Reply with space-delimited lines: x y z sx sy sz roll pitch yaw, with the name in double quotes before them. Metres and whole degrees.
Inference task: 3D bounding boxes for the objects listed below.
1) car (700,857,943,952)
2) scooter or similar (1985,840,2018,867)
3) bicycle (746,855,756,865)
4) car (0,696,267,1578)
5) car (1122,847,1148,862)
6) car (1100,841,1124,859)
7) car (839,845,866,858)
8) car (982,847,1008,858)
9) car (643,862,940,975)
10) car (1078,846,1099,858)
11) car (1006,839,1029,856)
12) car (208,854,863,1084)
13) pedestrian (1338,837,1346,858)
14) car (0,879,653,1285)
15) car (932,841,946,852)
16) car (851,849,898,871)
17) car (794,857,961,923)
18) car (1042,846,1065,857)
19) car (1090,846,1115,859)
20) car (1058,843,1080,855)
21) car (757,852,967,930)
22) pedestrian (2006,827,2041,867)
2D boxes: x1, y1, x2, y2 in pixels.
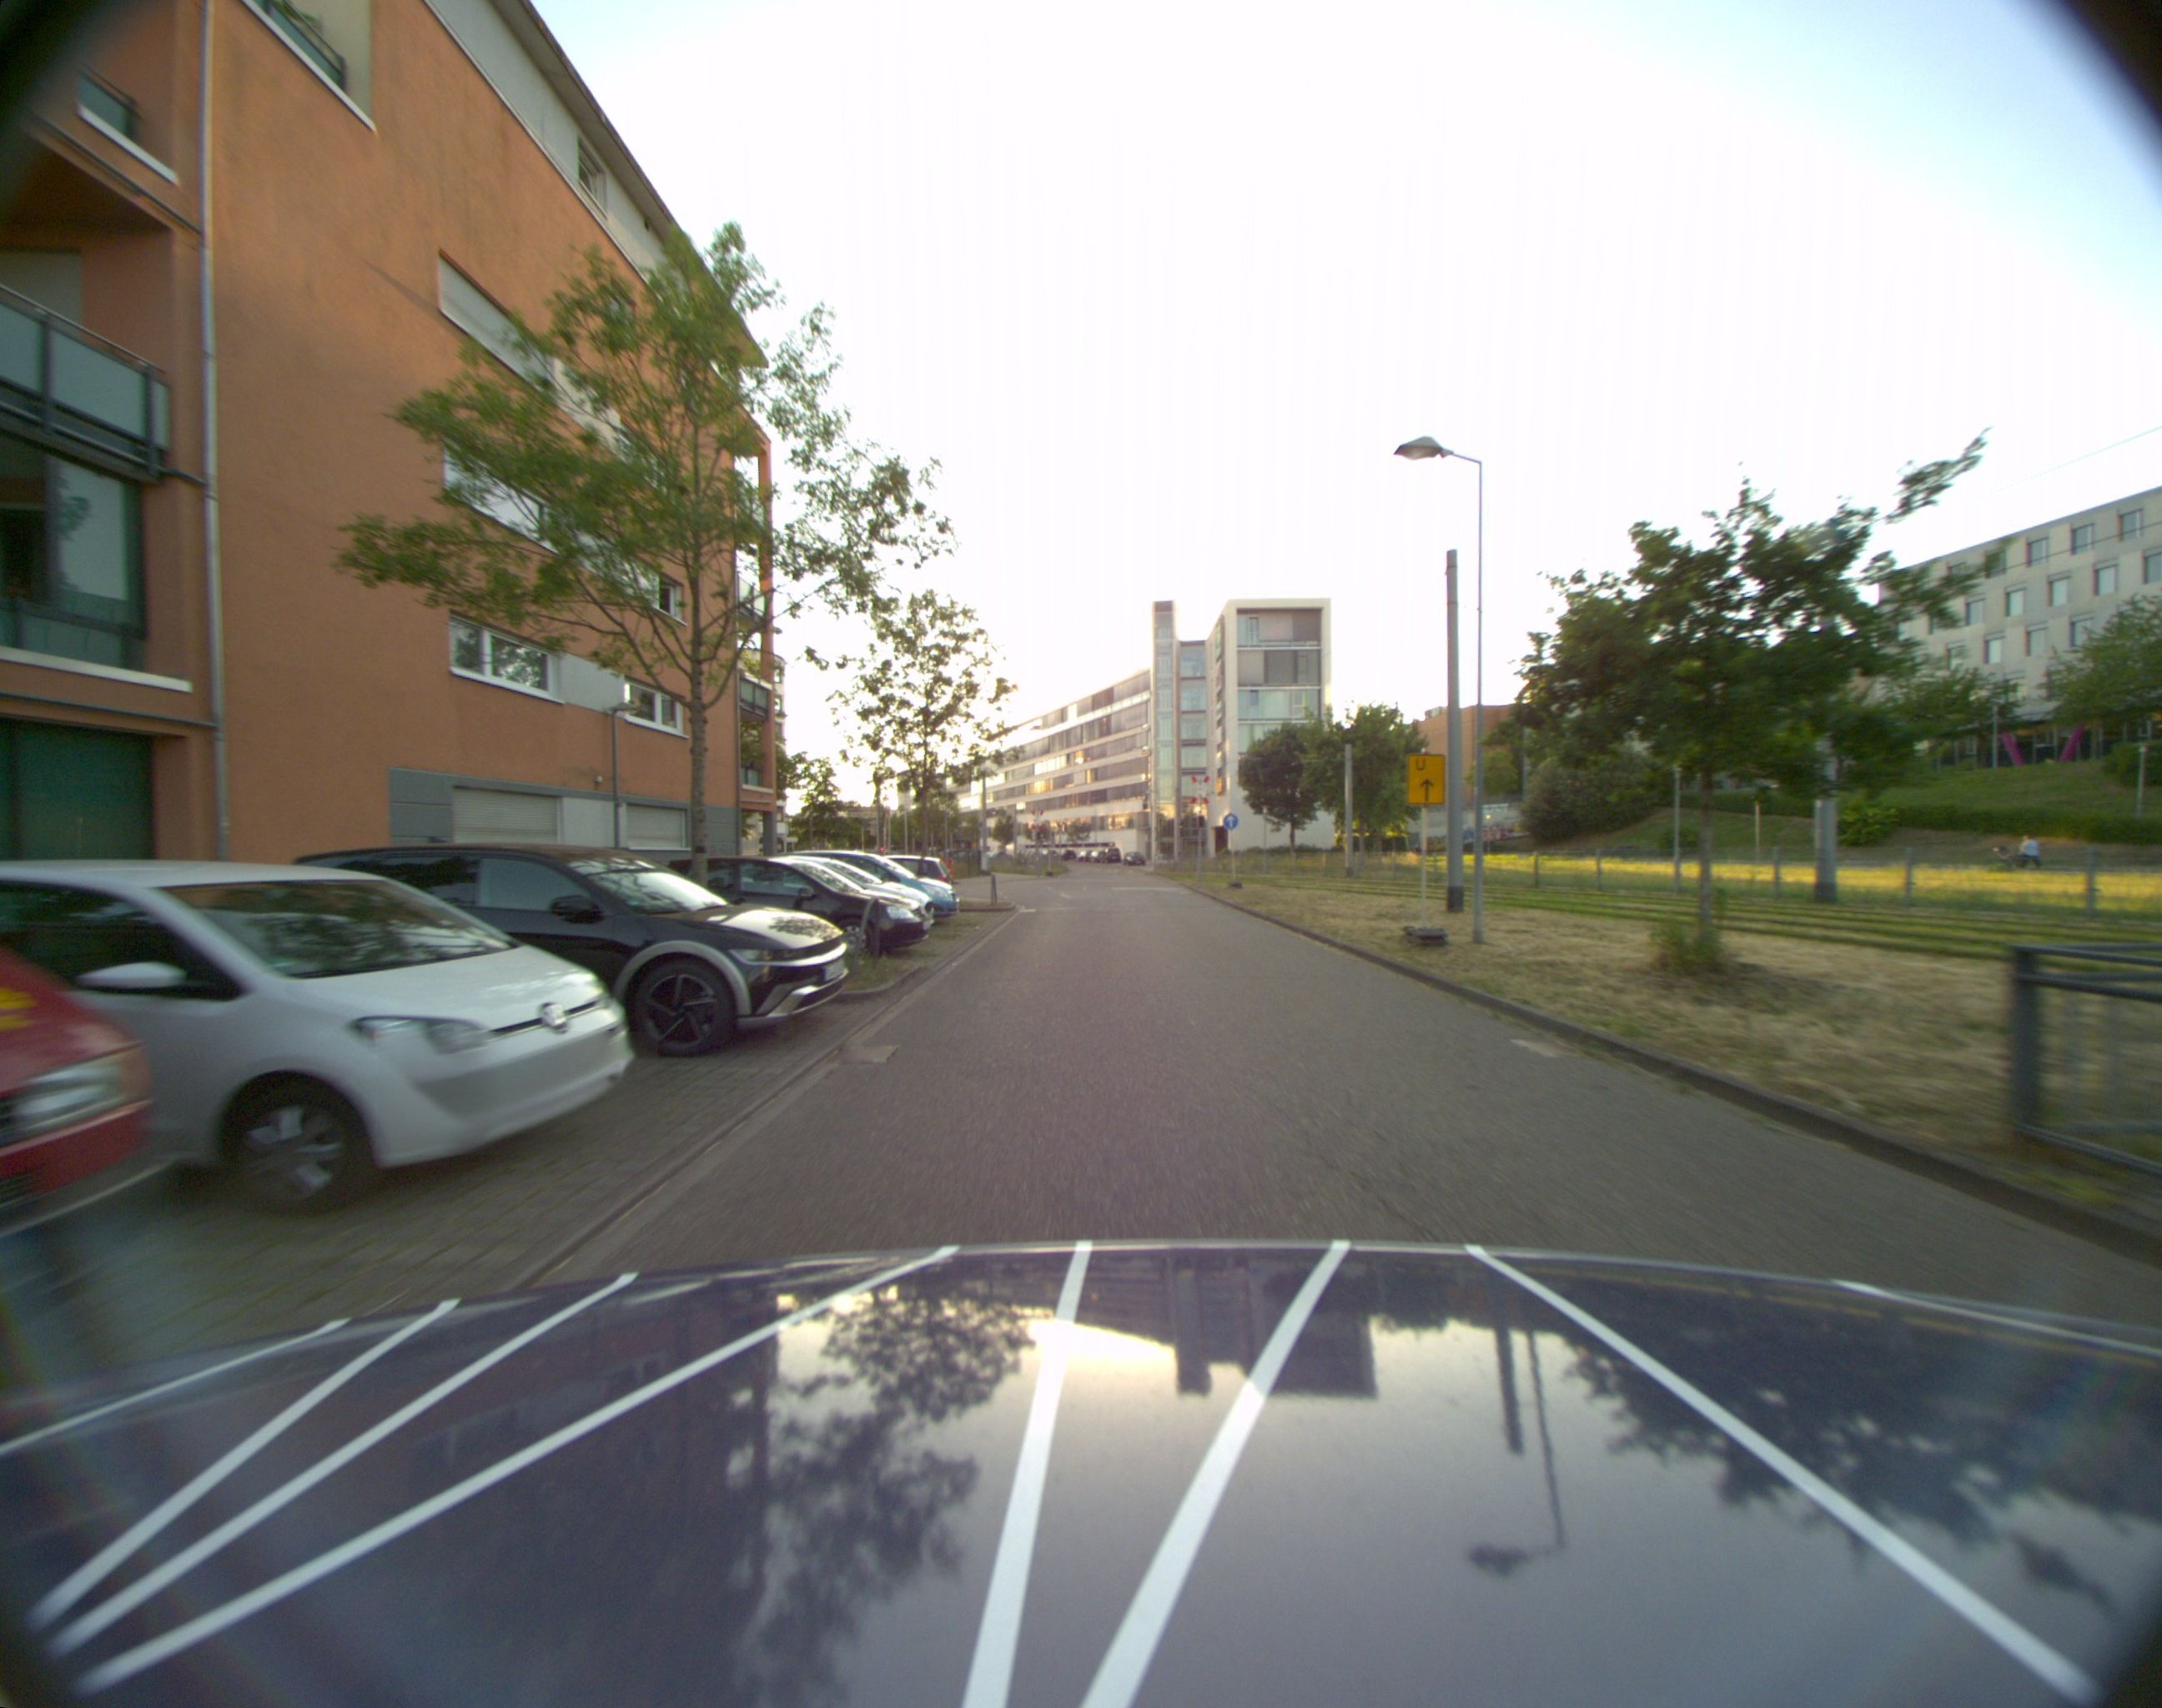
"car" -4.669 0.886 14.039 3.886 1.560 1.620 -1 1 1
"scooter or similar" 43.896 -0.024 36.231 0.617 1.237 0.790 -3 1 0
"bicycle" -33.108 0.634 76.212 0.816 0.945 2.210 -1 1 -25
"car" -5.070 0.706 1.438 4.931 2.105 2.017 -1 1 2
"car" 5.631 0.046 79.515 1.858 1.434 4.224 -3 1 -8
"car" 3.652 -0.485 90.576 1.895 1.961 4.513 -3 1 -10
"car" -37.401 -0.424 124.290 4.005 2.002 1.995 -1 1 -27
"car" -11.904 -0.243 105.260 1.713 1.368 4.007 -1 1 27
"car" -4.157 0.902 11.304 3.783 1.487 1.539 -1 1 1
"car" 1.006 -0.260 100.214 1.654 1.468 3.760 -1 1 -18
"car" -10.677 -1.044 127.216 2.008 2.859 6.242 0 0 -24
"car" -4.226 0.828 6.403 4.226 1.560 1.792 1 1 1
"pedestrian" 23.055 -0.583 67.093 0.450 1.826 0.483 -3 2 -19
"car" -4.374 0.925 3.813 3.534 1.456 1.615 1 1 1
"car" -32.548 -1.659 174.141 2.003 2.570 3.991 -1 1 -27
"car" -19.639 0.553 72.259 4.004 2.002 1.996 -1 1 -23
"car" -4.991 0.863 19.040 3.760 1.465 1.612 -1 1 -4
"car" -4.158 -0.398 114.354 1.800 1.542 3.991 -3 2 -27
"car" 2.715 -0.232 95.581 1.867 1.468 4.513 -3 1 -15
"car" -1.763 -0.666 108.356 1.799 1.676 3.992 -1 1 -23
"car" -4.659 0.769 16.548 4.060 1.560 1.673 1 1 1
"pedestrian" 43.884 -0.344 35.372 0.617 1.826 0.790 -3 1 0
